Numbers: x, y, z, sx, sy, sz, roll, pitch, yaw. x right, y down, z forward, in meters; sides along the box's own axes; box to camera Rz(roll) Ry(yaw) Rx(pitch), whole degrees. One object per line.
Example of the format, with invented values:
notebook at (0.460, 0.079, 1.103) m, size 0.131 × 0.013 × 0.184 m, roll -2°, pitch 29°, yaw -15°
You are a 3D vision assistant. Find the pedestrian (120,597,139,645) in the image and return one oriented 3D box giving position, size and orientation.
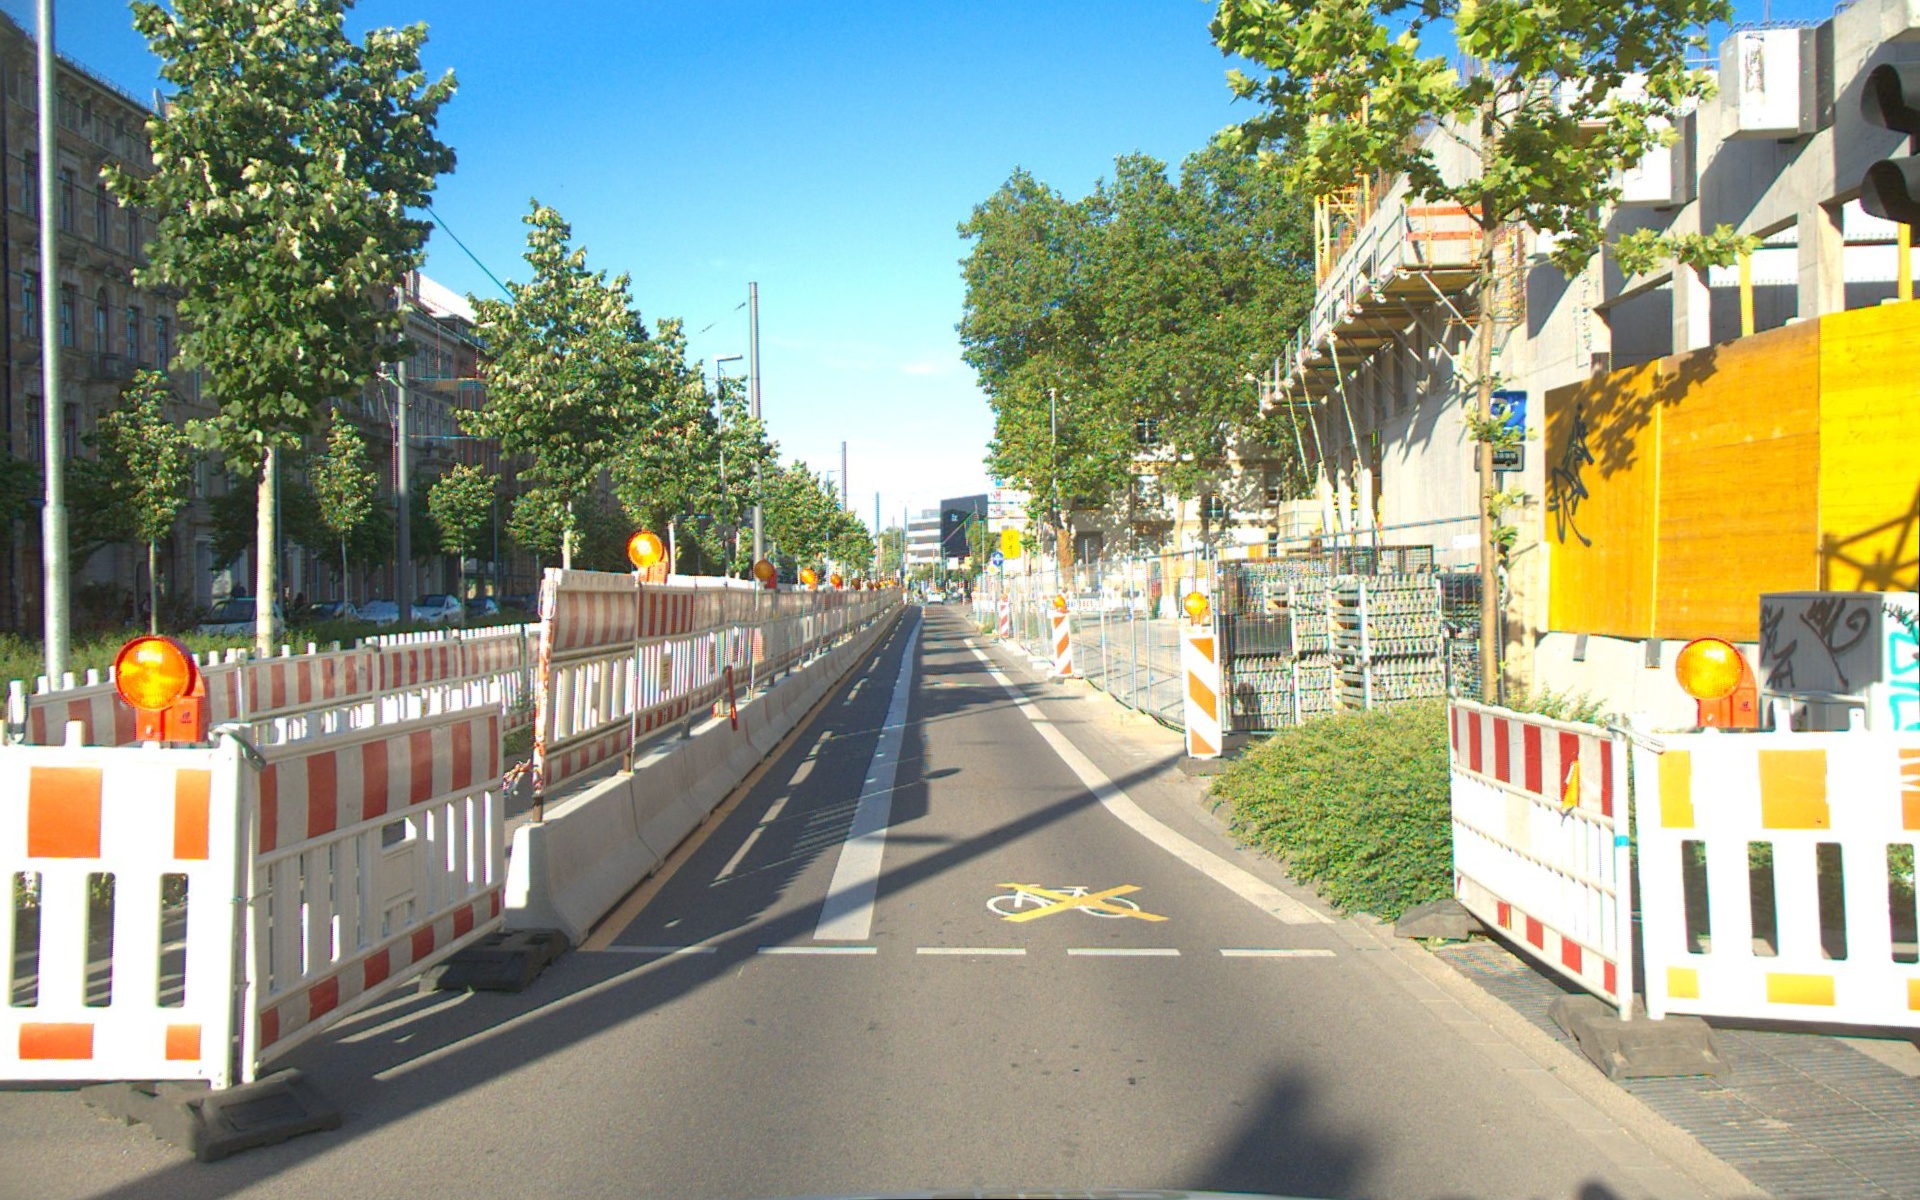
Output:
pedestrian at (-28.363, 0.709, 56.468) m, size 0.425 × 1.612 × 0.385 m, roll 1°, pitch 0°, yaw -4°

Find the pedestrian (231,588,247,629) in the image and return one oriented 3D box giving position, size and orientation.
pedestrian at (-28.652, 0.336, 65.757) m, size 0.452 × 1.612 × 0.434 m, roll 1°, pitch 0°, yaw -8°

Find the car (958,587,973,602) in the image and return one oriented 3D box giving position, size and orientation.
car at (0.761, -0.721, 213.798) m, size 1.845 × 1.875 × 3.667 m, roll -1°, pitch 1°, yaw -1°

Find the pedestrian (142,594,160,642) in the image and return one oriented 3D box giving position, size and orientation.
pedestrian at (-27.672, 0.614, 56.563) m, size 0.420 × 1.612 × 0.339 m, roll 1°, pitch 0°, yaw 0°

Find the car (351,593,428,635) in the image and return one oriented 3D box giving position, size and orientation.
car at (-23.044, 0.533, 66.982) m, size 1.534 × 1.590 × 4.714 m, roll -1°, pitch 1°, yaw -1°

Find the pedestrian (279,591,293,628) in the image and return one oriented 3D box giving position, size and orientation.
pedestrian at (-28.119, 0.398, 69.012) m, size 0.397 × 1.561 × 0.435 m, roll 1°, pitch 0°, yaw -1°

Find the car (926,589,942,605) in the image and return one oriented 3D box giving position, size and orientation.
car at (-3.028, -0.353, 190.988) m, size 1.845 × 1.875 × 3.667 m, roll -1°, pitch 1°, yaw -1°

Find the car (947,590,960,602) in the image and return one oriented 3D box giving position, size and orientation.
car at (-1.004, -0.606, 252.500) m, size 1.845 × 1.875 × 3.667 m, roll -1°, pitch 1°, yaw -1°

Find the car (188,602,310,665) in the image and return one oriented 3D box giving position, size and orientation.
car at (-18.415, 0.840, 42.994) m, size 1.562 × 1.509 × 3.623 m, roll -1°, pitch 0°, yaw 1°

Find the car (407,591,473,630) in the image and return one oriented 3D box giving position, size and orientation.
car at (-23.068, 0.439, 73.533) m, size 1.535 × 1.590 × 4.713 m, roll -1°, pitch 1°, yaw -1°

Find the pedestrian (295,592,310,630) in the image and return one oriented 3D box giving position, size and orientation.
pedestrian at (-27.344, 0.468, 68.762) m, size 0.397 × 1.559 × 0.435 m, roll 1°, pitch 0°, yaw -1°
